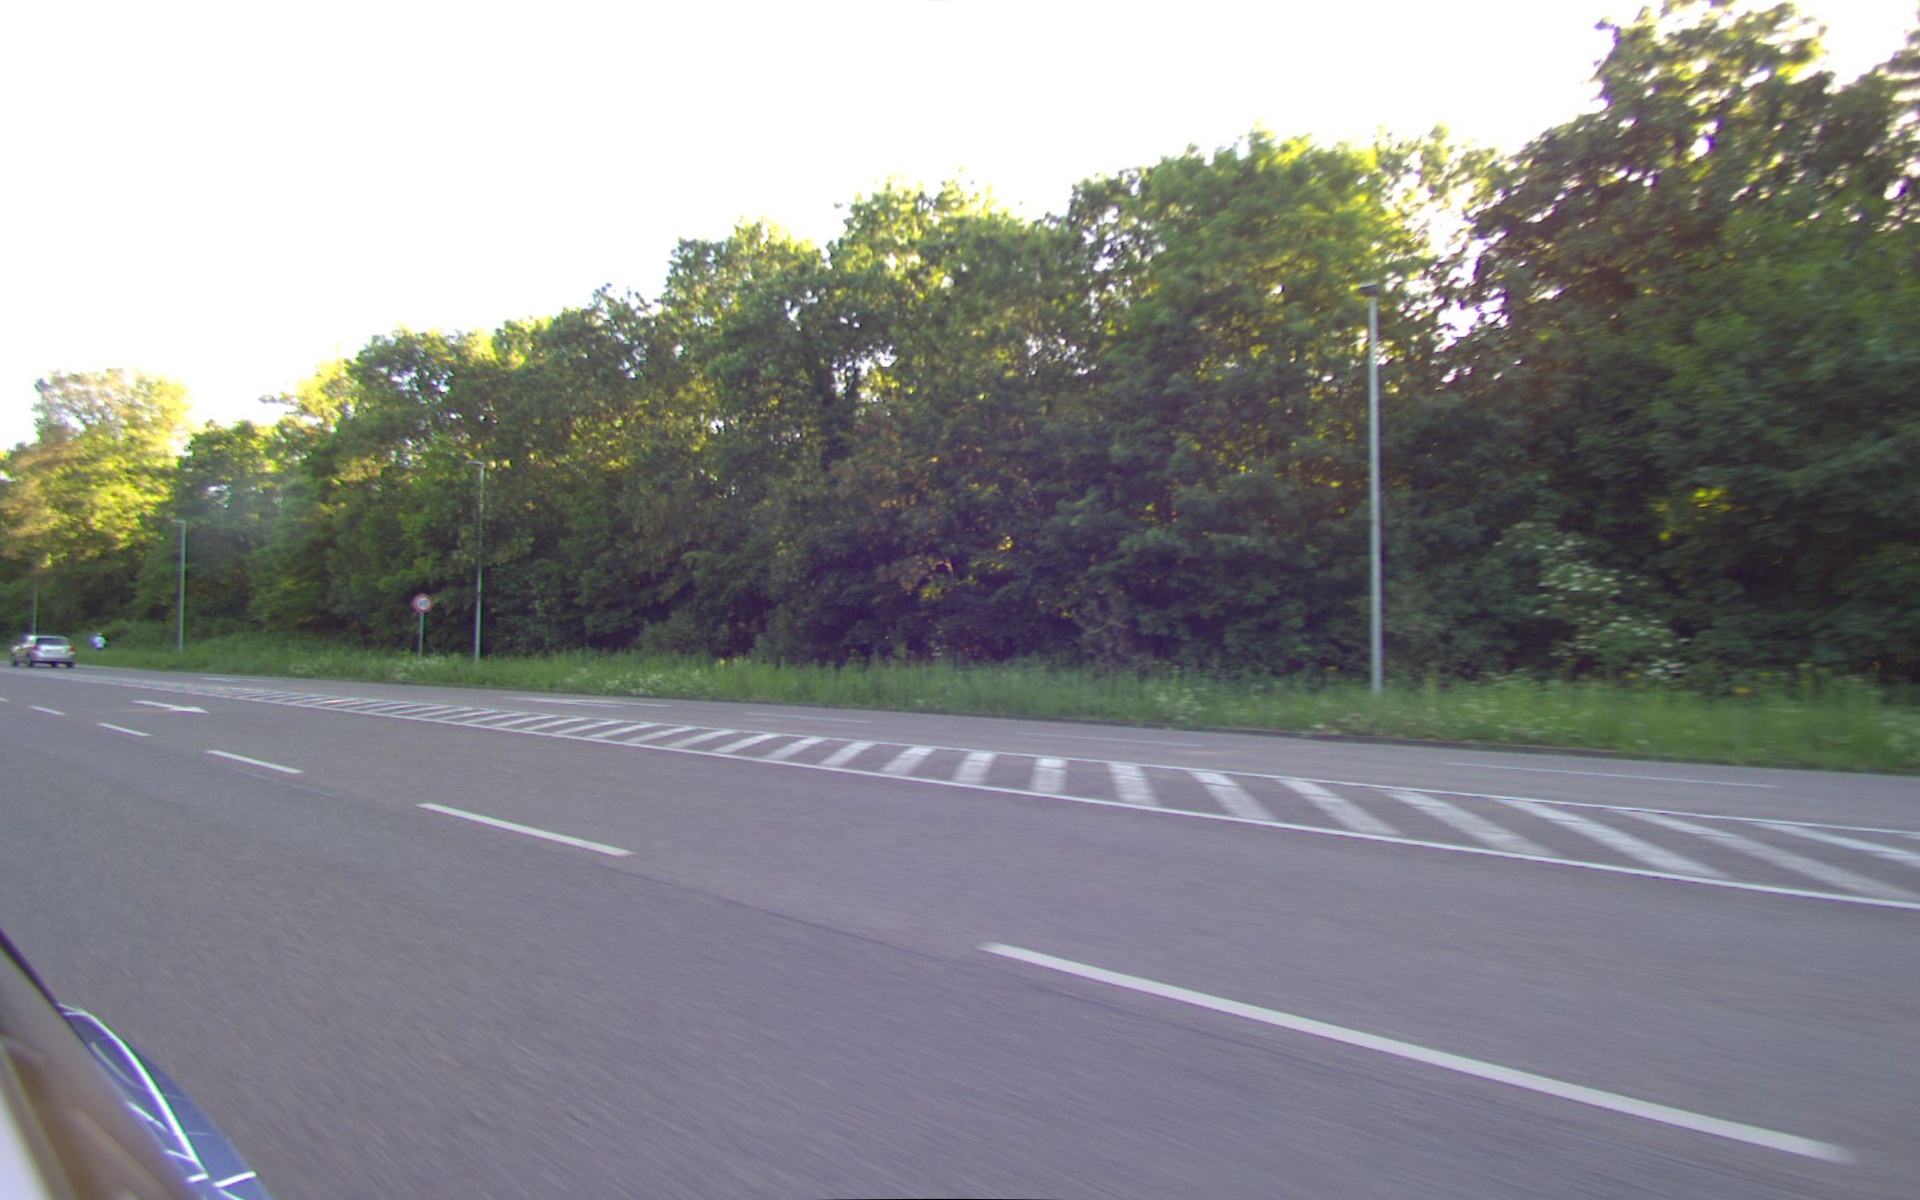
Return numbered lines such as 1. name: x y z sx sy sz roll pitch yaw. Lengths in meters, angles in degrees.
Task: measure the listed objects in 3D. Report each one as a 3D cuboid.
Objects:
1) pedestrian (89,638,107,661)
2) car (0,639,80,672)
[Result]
1. pedestrian: -57.794 3.324 67.828 0.825 1.577 0.704 -2 -4 40
2. car: -43.088 2.595 47.349 4.470 1.466 1.813 -2 -5 35
